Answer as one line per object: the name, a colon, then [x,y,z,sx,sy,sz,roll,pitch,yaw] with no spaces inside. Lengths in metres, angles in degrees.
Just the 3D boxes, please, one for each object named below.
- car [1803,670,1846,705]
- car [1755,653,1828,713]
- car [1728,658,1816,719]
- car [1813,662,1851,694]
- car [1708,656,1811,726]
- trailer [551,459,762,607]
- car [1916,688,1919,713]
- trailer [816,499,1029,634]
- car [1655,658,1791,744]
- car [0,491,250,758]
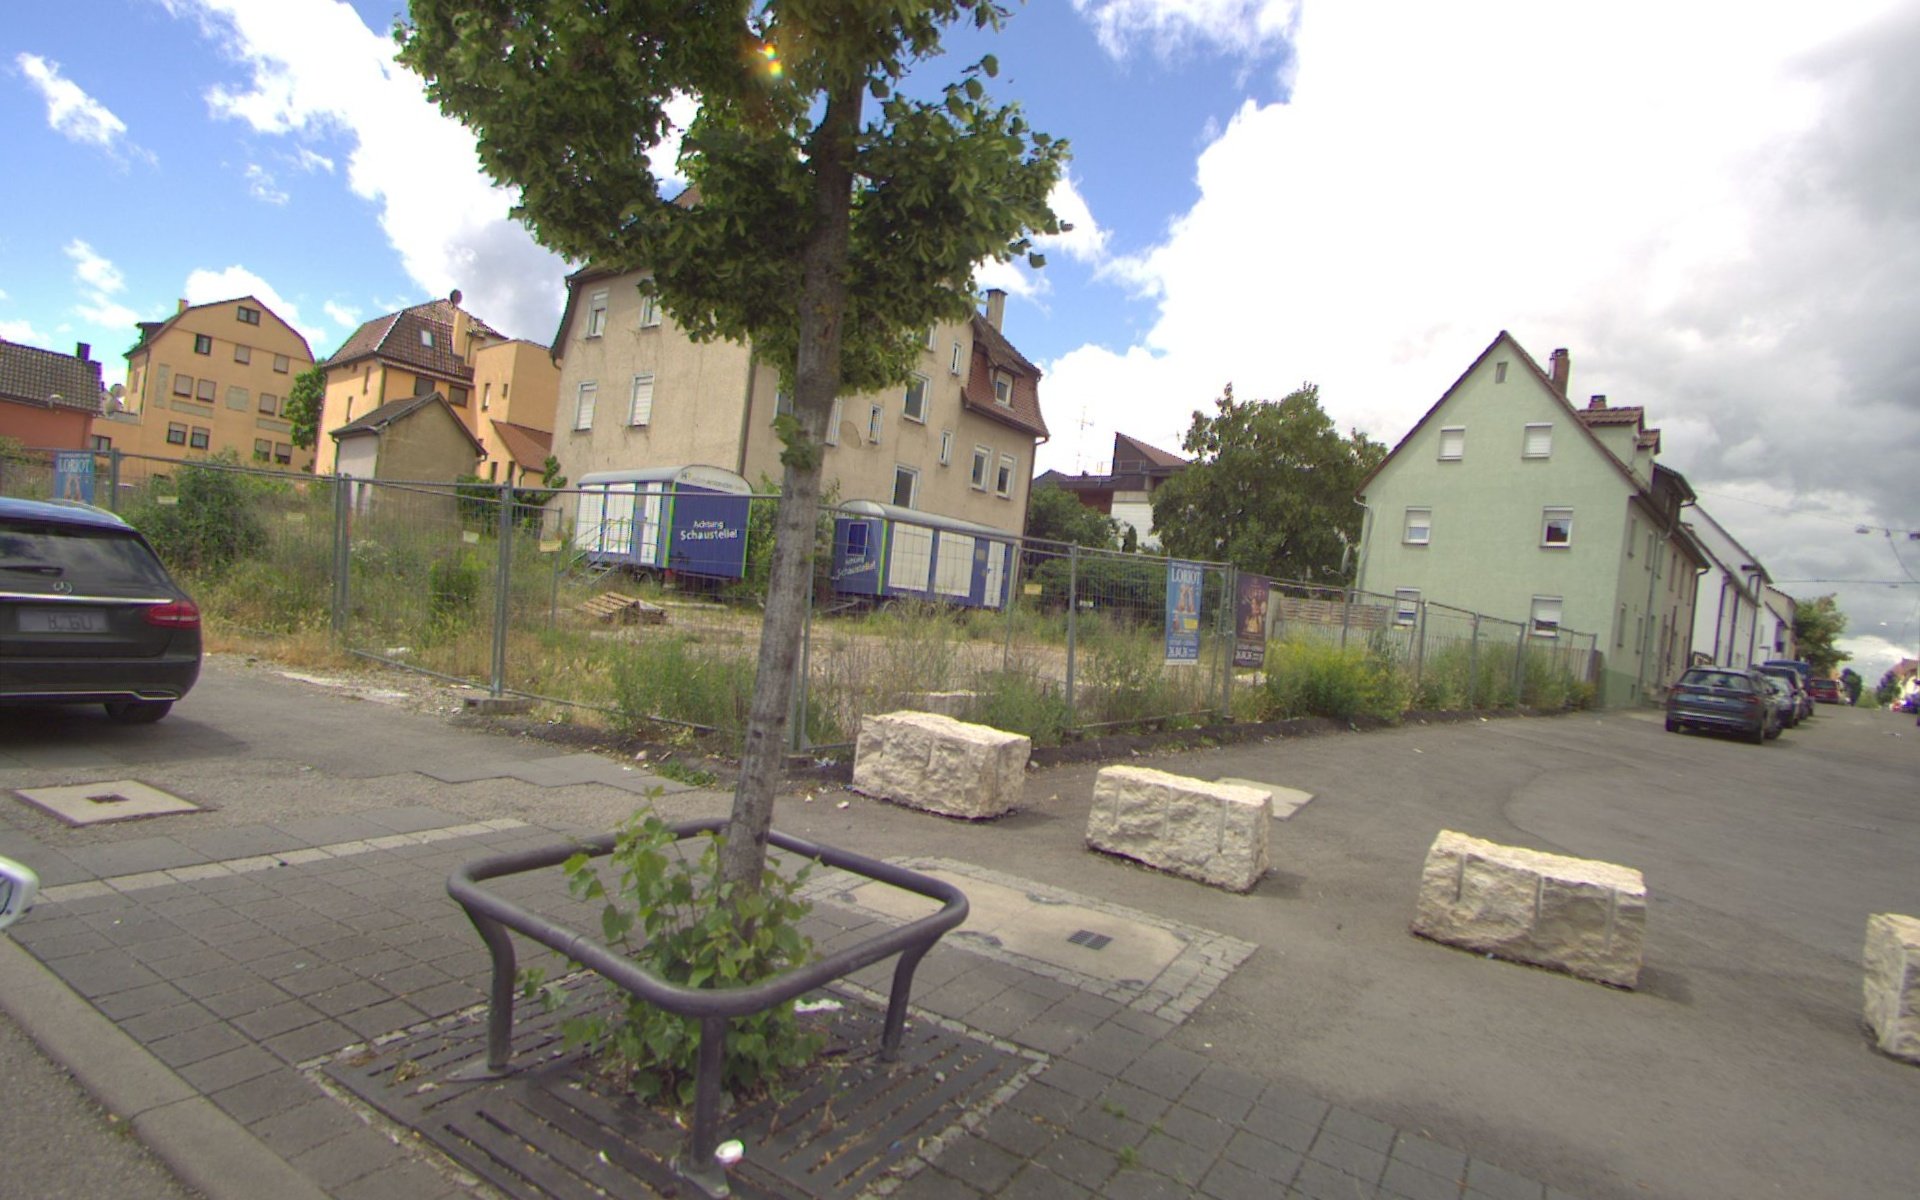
car: [58.615,5.932,68.213,1.801,2.097,3.976,8,2,44]
car: [33.894,3.371,40.969,1.801,2.097,3.976,8,2,44]
car: [28.917,3.139,35.786,1.973,1.773,3.976,8,2,44]
car: [66.250,5.932,76.428,1.801,2.097,3.976,8,2,44]
car: [24.899,2.815,31.279,1.973,1.773,3.976,8,2,44]
trailer: [-7.909,-1.718,25.741,2.397,3.161,6.082,6,0,-45]
car: [49.441,4.593,50.368,1.973,2.363,5.042,10,4,43]
trailer: [-0.942,-0.870,29.256,2.379,3.161,6.130,6,0,41]
car: [18.133,2.346,23.827,4.232,1.627,1.845,5,2,-45]
car: [-7.001,-0.053,6.866,4.400,1.470,1.784,6,0,30]
